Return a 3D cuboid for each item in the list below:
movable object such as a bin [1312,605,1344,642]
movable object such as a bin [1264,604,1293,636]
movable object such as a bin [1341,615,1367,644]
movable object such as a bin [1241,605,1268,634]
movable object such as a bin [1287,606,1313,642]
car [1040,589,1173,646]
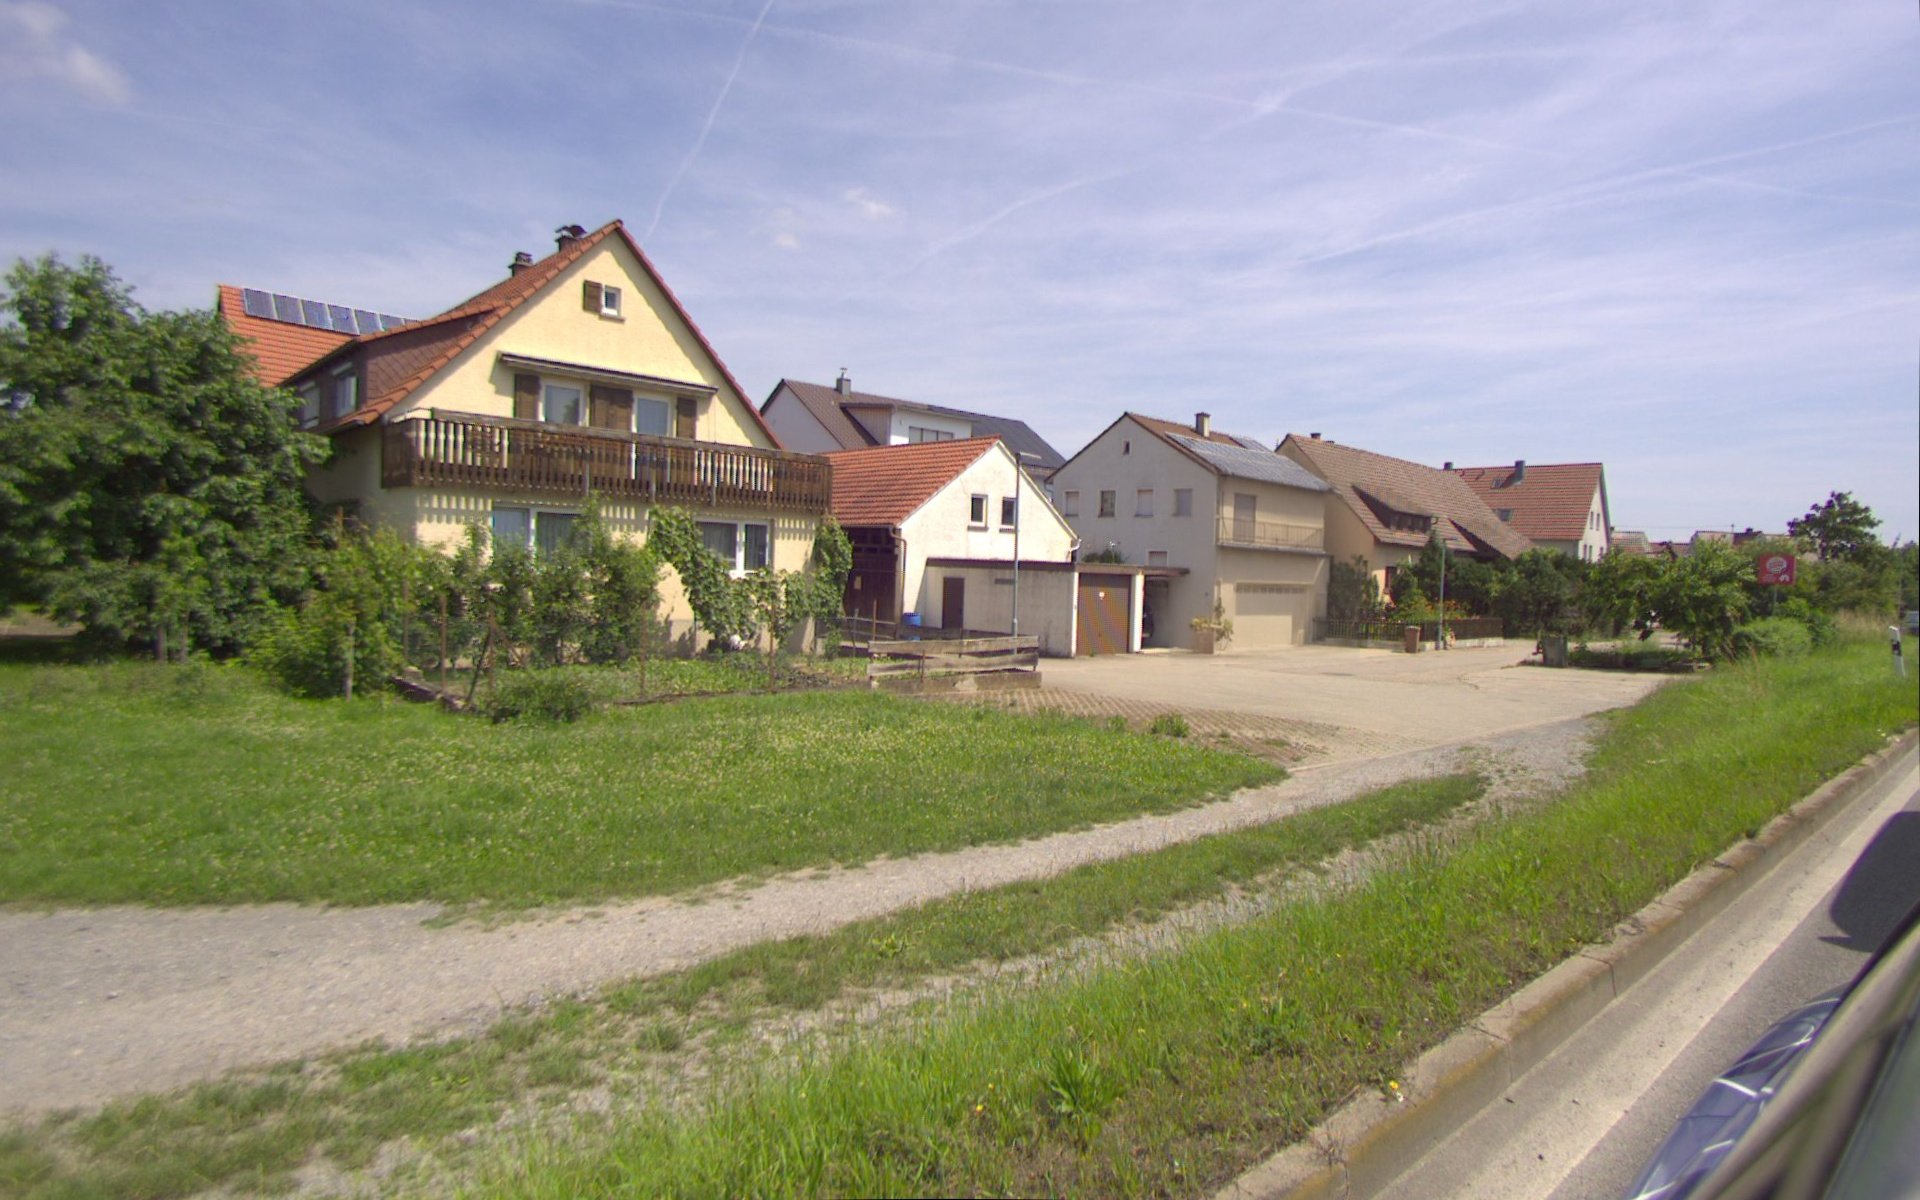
[{"bbox_3d":[13.914,0.872,38.259,0.930,1.387,0.764,1,0,-42],"label":"movable object such as a bin"},{"bbox_3d":[12.623,0.790,40.132,0.874,1.262,0.744,1,0,-42],"label":"movable object such as a bin"},{"bbox_3d":[14.631,1.074,37.557,0.743,1.040,0.645,1,0,-42],"label":"movable object such as a bin"},{"bbox_3d":[11.851,0.781,40.688,0.816,1.171,0.739,1,0,-42],"label":"movable object such as a bin"},{"bbox_3d":[13.259,0.919,39.472,0.806,1.355,0.677,1,0,-42],"label":"movable object such as a bin"},{"bbox_3d":[4.580,0.517,32.154,1.794,1.624,3.995,1,1,-40],"label":"car"}]
